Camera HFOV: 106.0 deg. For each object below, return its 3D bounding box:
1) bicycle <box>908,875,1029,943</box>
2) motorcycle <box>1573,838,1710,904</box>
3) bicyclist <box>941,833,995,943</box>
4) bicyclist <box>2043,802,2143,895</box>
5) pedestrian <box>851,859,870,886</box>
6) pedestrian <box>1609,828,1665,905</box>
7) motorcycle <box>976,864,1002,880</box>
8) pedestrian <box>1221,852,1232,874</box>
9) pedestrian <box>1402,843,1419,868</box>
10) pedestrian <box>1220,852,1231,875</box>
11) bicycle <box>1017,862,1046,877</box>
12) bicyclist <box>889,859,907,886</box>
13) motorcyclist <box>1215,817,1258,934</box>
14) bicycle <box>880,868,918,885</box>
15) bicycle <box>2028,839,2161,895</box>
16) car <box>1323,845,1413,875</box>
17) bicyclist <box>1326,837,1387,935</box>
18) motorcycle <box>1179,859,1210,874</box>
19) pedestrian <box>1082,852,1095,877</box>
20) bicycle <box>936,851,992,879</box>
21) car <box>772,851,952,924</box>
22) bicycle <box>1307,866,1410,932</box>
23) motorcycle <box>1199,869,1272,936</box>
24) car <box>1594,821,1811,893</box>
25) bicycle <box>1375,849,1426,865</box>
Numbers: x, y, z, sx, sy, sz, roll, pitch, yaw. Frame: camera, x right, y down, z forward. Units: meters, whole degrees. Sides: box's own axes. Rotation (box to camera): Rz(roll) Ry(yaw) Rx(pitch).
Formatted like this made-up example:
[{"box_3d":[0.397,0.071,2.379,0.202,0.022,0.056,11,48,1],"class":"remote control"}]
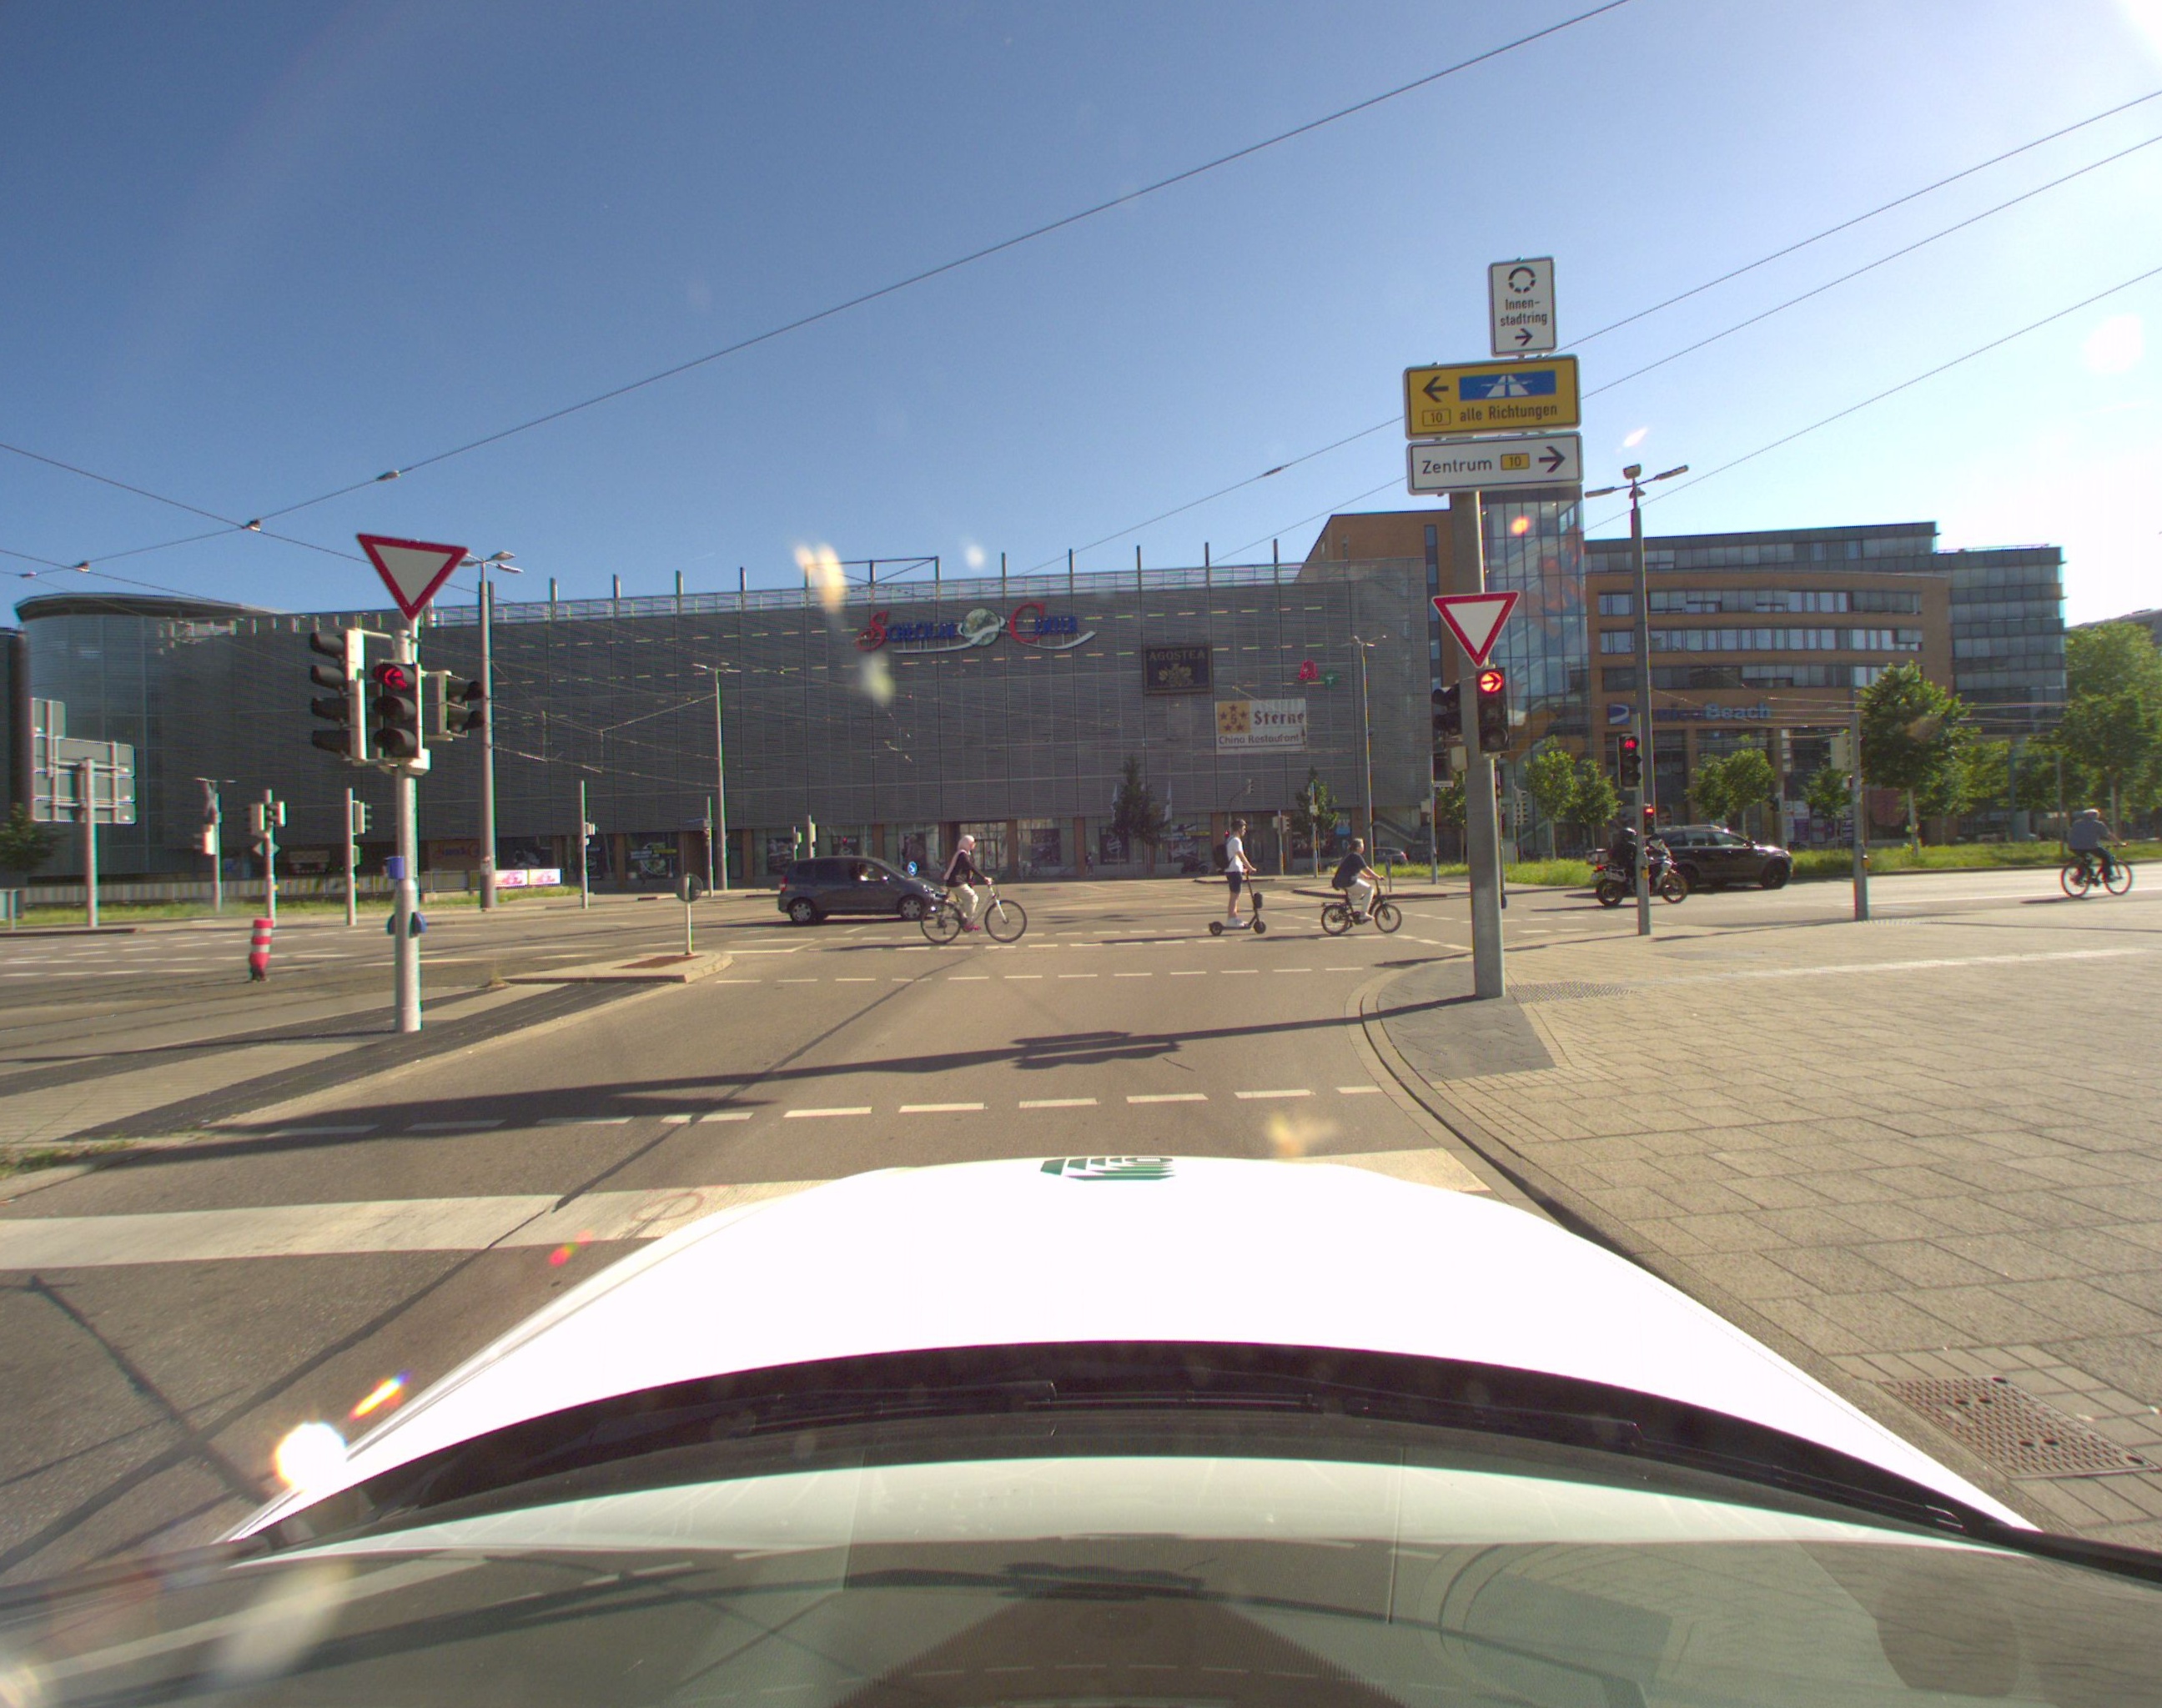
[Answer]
[{"box_3d":[-1.882,0.918,13.832,1.920,1.036,0.694,-2,0,-2],"class":"bicycle"},{"box_3d":[12.549,0.382,18.287,2.435,1.419,0.915,-1,0,0],"class":"motorcycle"},{"box_3d":[-1.906,0.557,13.825,0.761,1.789,0.762,-2,-1,-2],"class":"bicyclist"},{"box_3d":[21.000,-0.106,16.927,0.898,1.859,0.854,-2,-2,2],"class":"bicyclist"},{"box_3d":[-15.059,1.263,55.587,0.894,1.868,0.826,-2,-1,44],"class":"pedestrian"},{"box_3d":[12.446,0.280,18.248,0.741,1.677,0.665,-2,-1,1],"class":"pedestrian"},{"box_3d":[-6.356,1.270,56.257,1.641,1.059,0.499,-2,-1,11],"class":"motorcycle"},{"box_3d":[9.821,0.624,55.123,0.587,1.462,0.658,-2,-1,1],"class":"pedestrian"},{"box_3d":[23.677,0.101,58.497,0.852,1.738,0.752,-2,-1,-5],"class":"pedestrian"},{"box_3d":[9.623,0.641,54.393,0.587,1.535,0.658,-2,-1,1],"class":"pedestrian"},{"box_3d":[-3.672,1.165,60.839,2.019,1.059,1.145,-2,0,1],"class":"bicycle"},{"box_3d":[-12.463,1.273,55.452,0.849,1.803,0.806,-1,-1,-40],"class":"bicyclist"},{"box_3d":[2.753,0.380,14.438,0.625,2.014,0.498,-2,-1,2],"class":"motorcyclist"},{"box_3d":[-12.412,1.545,55.539,2.256,1.070,1.034,-2,-1,-39],"class":"bicycle"},{"box_3d":[21.104,0.265,16.912,1.822,1.116,0.854,-1,0,1],"class":"bicycle"},{"box_3d":[15.980,0.311,45.405,4.470,1.495,1.495,-2,0,1],"class":"car"},{"box_3d":[4.806,0.551,14.227,0.780,1.648,0.690,-2,-1,-1],"class":"bicyclist"},{"box_3d":[8.443,0.951,60.835,2.194,1.042,1.062,-1,0,2],"class":"motorcycle"},{"box_3d":[0.556,0.776,59.583,0.845,1.763,0.620,-2,-1,1],"class":"pedestrian"},{"box_3d":[-8.769,0.789,61.218,3.971,2.013,1.331,-1,0,2],"class":"bicycle"},{"box_3d":[-5.018,0.747,19.098,3.744,1.525,1.821,-1,0,-3],"class":"car"},{"box_3d":[4.858,0.771,14.318,1.571,1.107,0.734,0,-1,-1],"class":"bicycle"},{"box_3d":[2.730,0.844,14.428,1.182,1.121,0.483,-2,-1,1],"class":"motorcycle"},{"box_3d":[16.426,0.045,21.635,4.629,1.718,1.835,-1,1,-7],"class":"car"},{"box_3d":[23.870,0.222,60.882,3.342,1.077,1.119,-1,0,7],"class":"bicycle"}]
